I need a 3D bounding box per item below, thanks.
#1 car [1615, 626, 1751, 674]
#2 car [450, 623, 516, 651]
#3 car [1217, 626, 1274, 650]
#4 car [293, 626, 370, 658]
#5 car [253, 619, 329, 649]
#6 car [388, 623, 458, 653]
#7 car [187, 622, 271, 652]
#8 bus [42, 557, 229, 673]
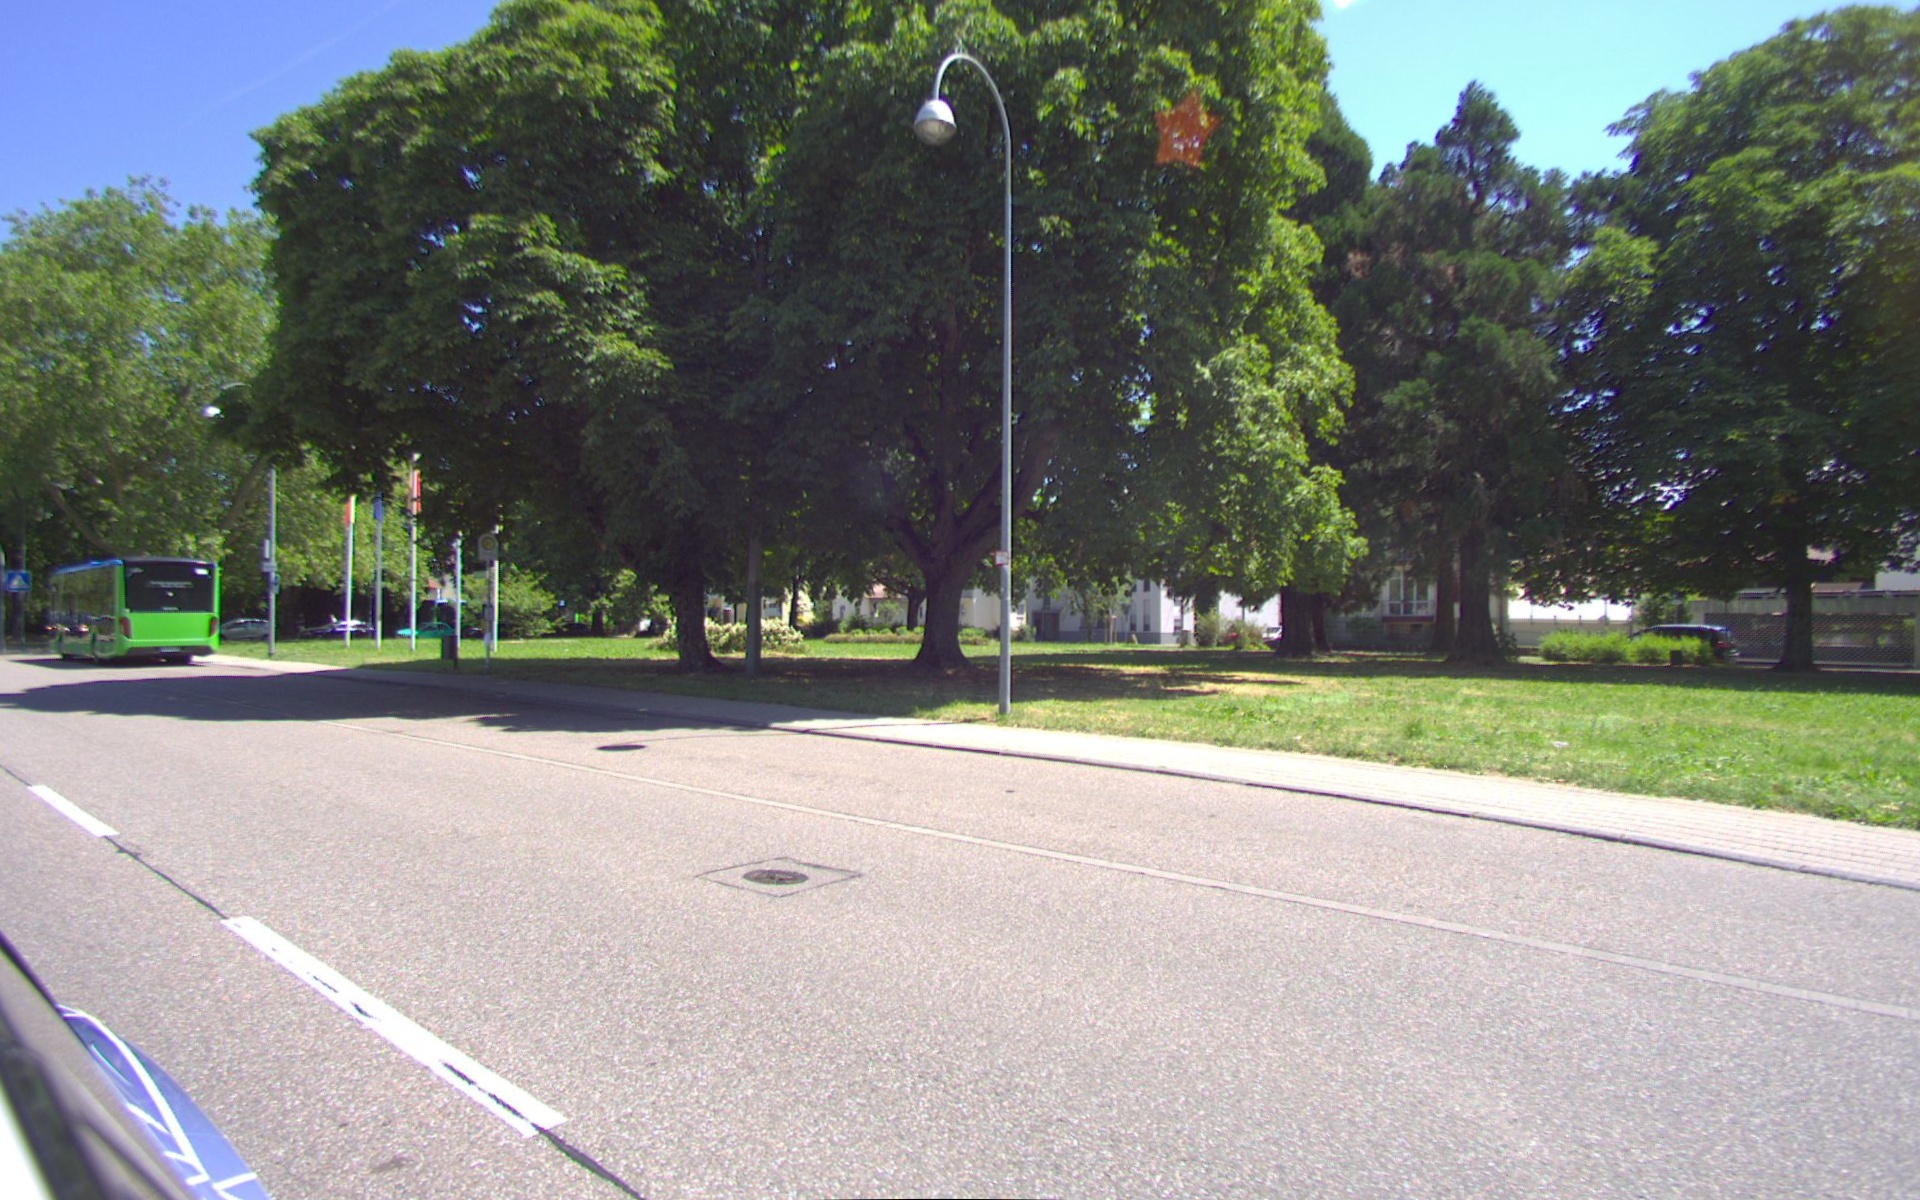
[{"bbox_3d":[29.000,1.963,40.716,1.966,1.792,4.010,1,-2,-34],"label":"car"},{"bbox_3d":[-35.275,2.722,74.959,1.999,2.029,3.946,-1,-2,40],"label":"car"},{"bbox_3d":[20.338,2.667,72.022,3.936,1.630,2.004,1,-2,-39],"label":"car"},{"bbox_3d":[-41.571,2.752,67.031,2.000,2.029,3.943,-1,-2,43],"label":"car"},{"bbox_3d":[-46.385,2.334,70.259,3.933,2.029,2.005,0,-1,-13],"label":"car"},{"bbox_3d":[-37.969,2.678,71.598,1.999,2.029,3.946,-1,-2,40],"label":"car"},{"bbox_3d":[-45.672,2.276,63.281,2.000,1.817,3.943,-1,-2,43],"label":"car"},{"bbox_3d":[-27.937,0.547,33.976,11.849,3.328,2.778,-1,-2,41],"label":"bus"}]
